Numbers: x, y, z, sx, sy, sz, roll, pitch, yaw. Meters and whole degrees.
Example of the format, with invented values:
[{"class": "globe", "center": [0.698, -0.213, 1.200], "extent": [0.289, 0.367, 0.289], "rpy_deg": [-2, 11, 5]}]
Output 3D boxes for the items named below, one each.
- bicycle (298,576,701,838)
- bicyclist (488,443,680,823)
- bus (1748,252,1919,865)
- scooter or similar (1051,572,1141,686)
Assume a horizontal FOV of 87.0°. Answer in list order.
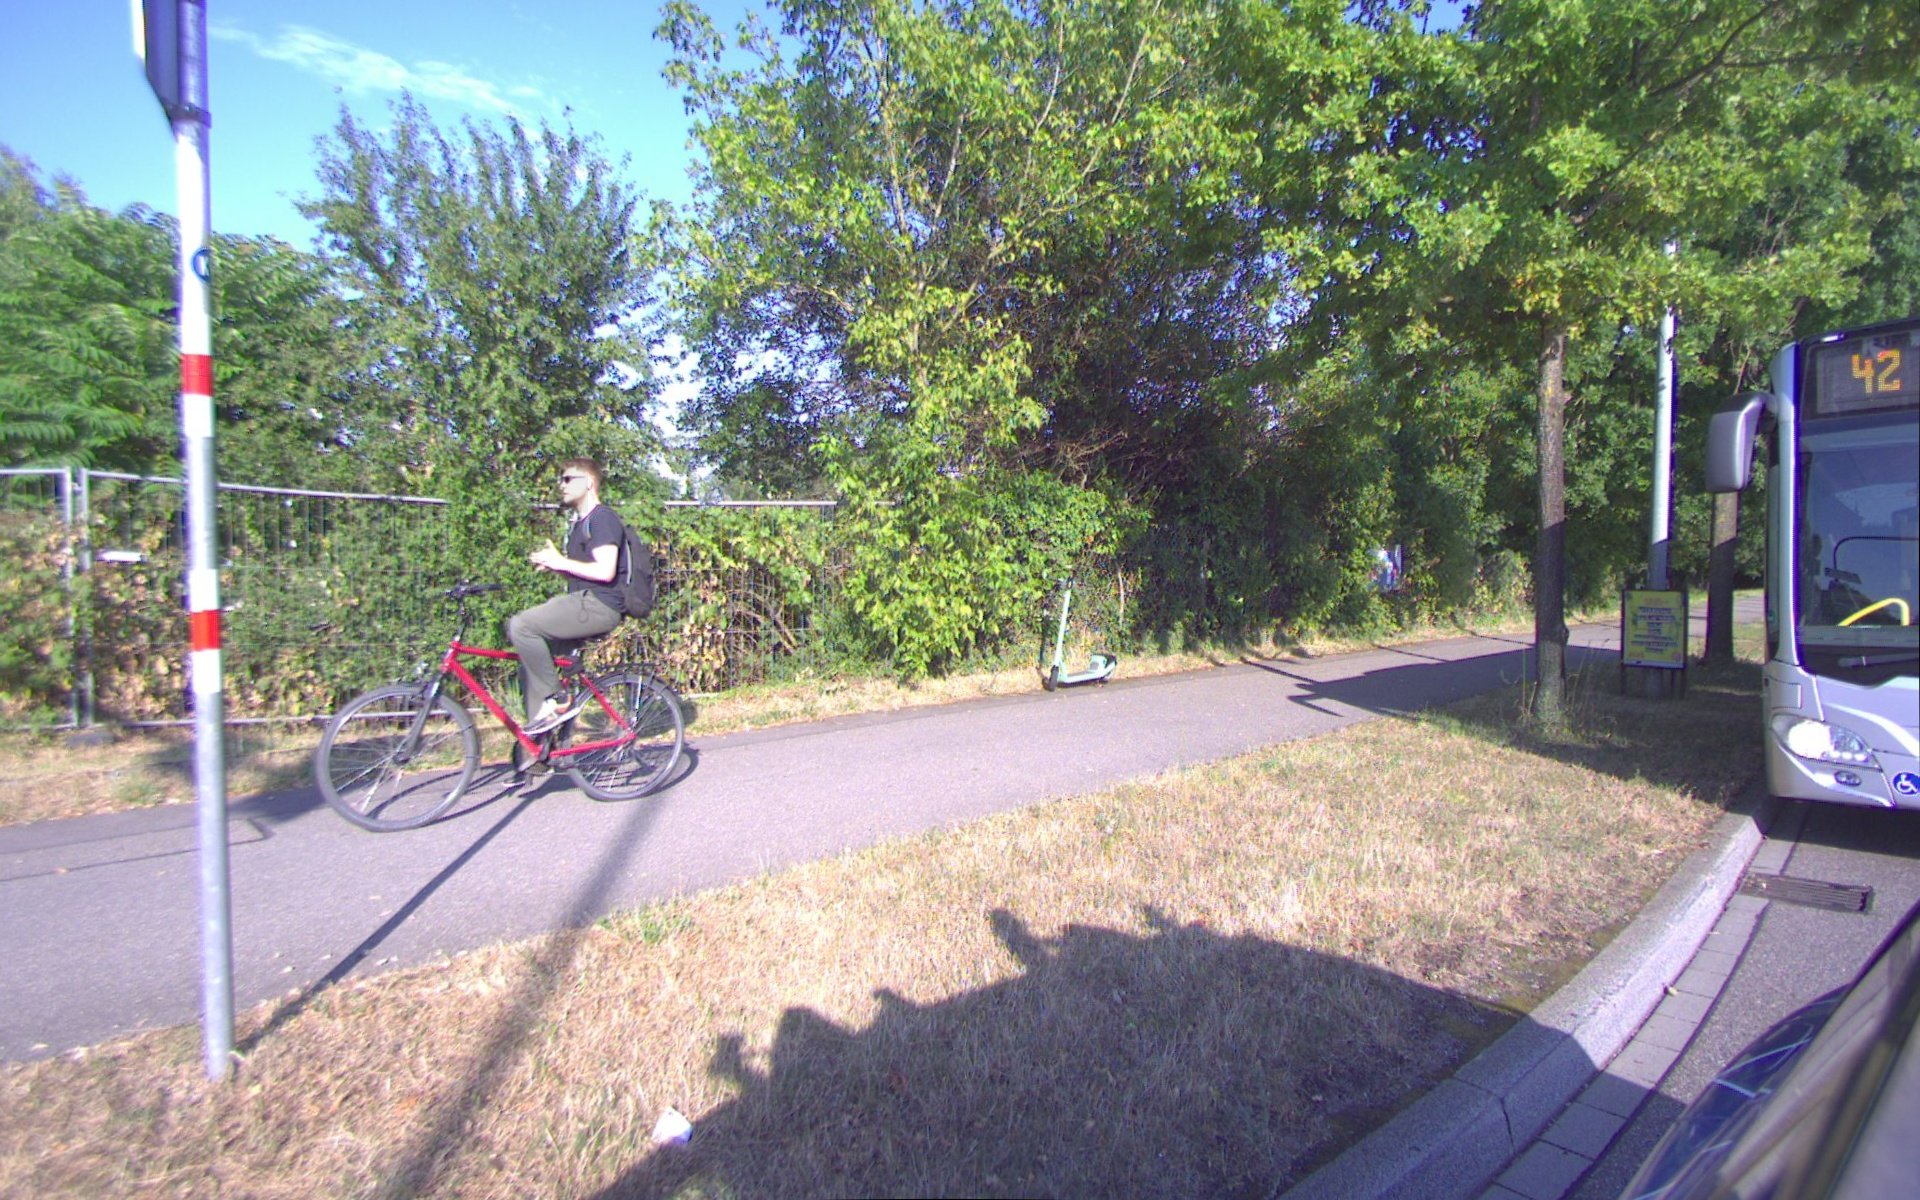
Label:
[{"class": "bicycle", "center": [-2.324, 0.479, 5.248], "extent": [1.854, 1.172, 0.416], "rpy_deg": [0, 2, -34]}, {"class": "bicyclist", "center": [-2.015, 0.143, 5.412], "extent": [0.814, 1.852, 0.621], "rpy_deg": [-1, 4, -36]}, {"class": "bus", "center": [9.364, -0.277, 8.666], "extent": [11.527, 3.081, 2.590], "rpy_deg": [-1, 1, -44]}, {"class": "scooter or similar", "center": [1.448, 0.288, 10.675], "extent": [1.076, 1.139, 0.249], "rpy_deg": [-1, 5, -42]}]
